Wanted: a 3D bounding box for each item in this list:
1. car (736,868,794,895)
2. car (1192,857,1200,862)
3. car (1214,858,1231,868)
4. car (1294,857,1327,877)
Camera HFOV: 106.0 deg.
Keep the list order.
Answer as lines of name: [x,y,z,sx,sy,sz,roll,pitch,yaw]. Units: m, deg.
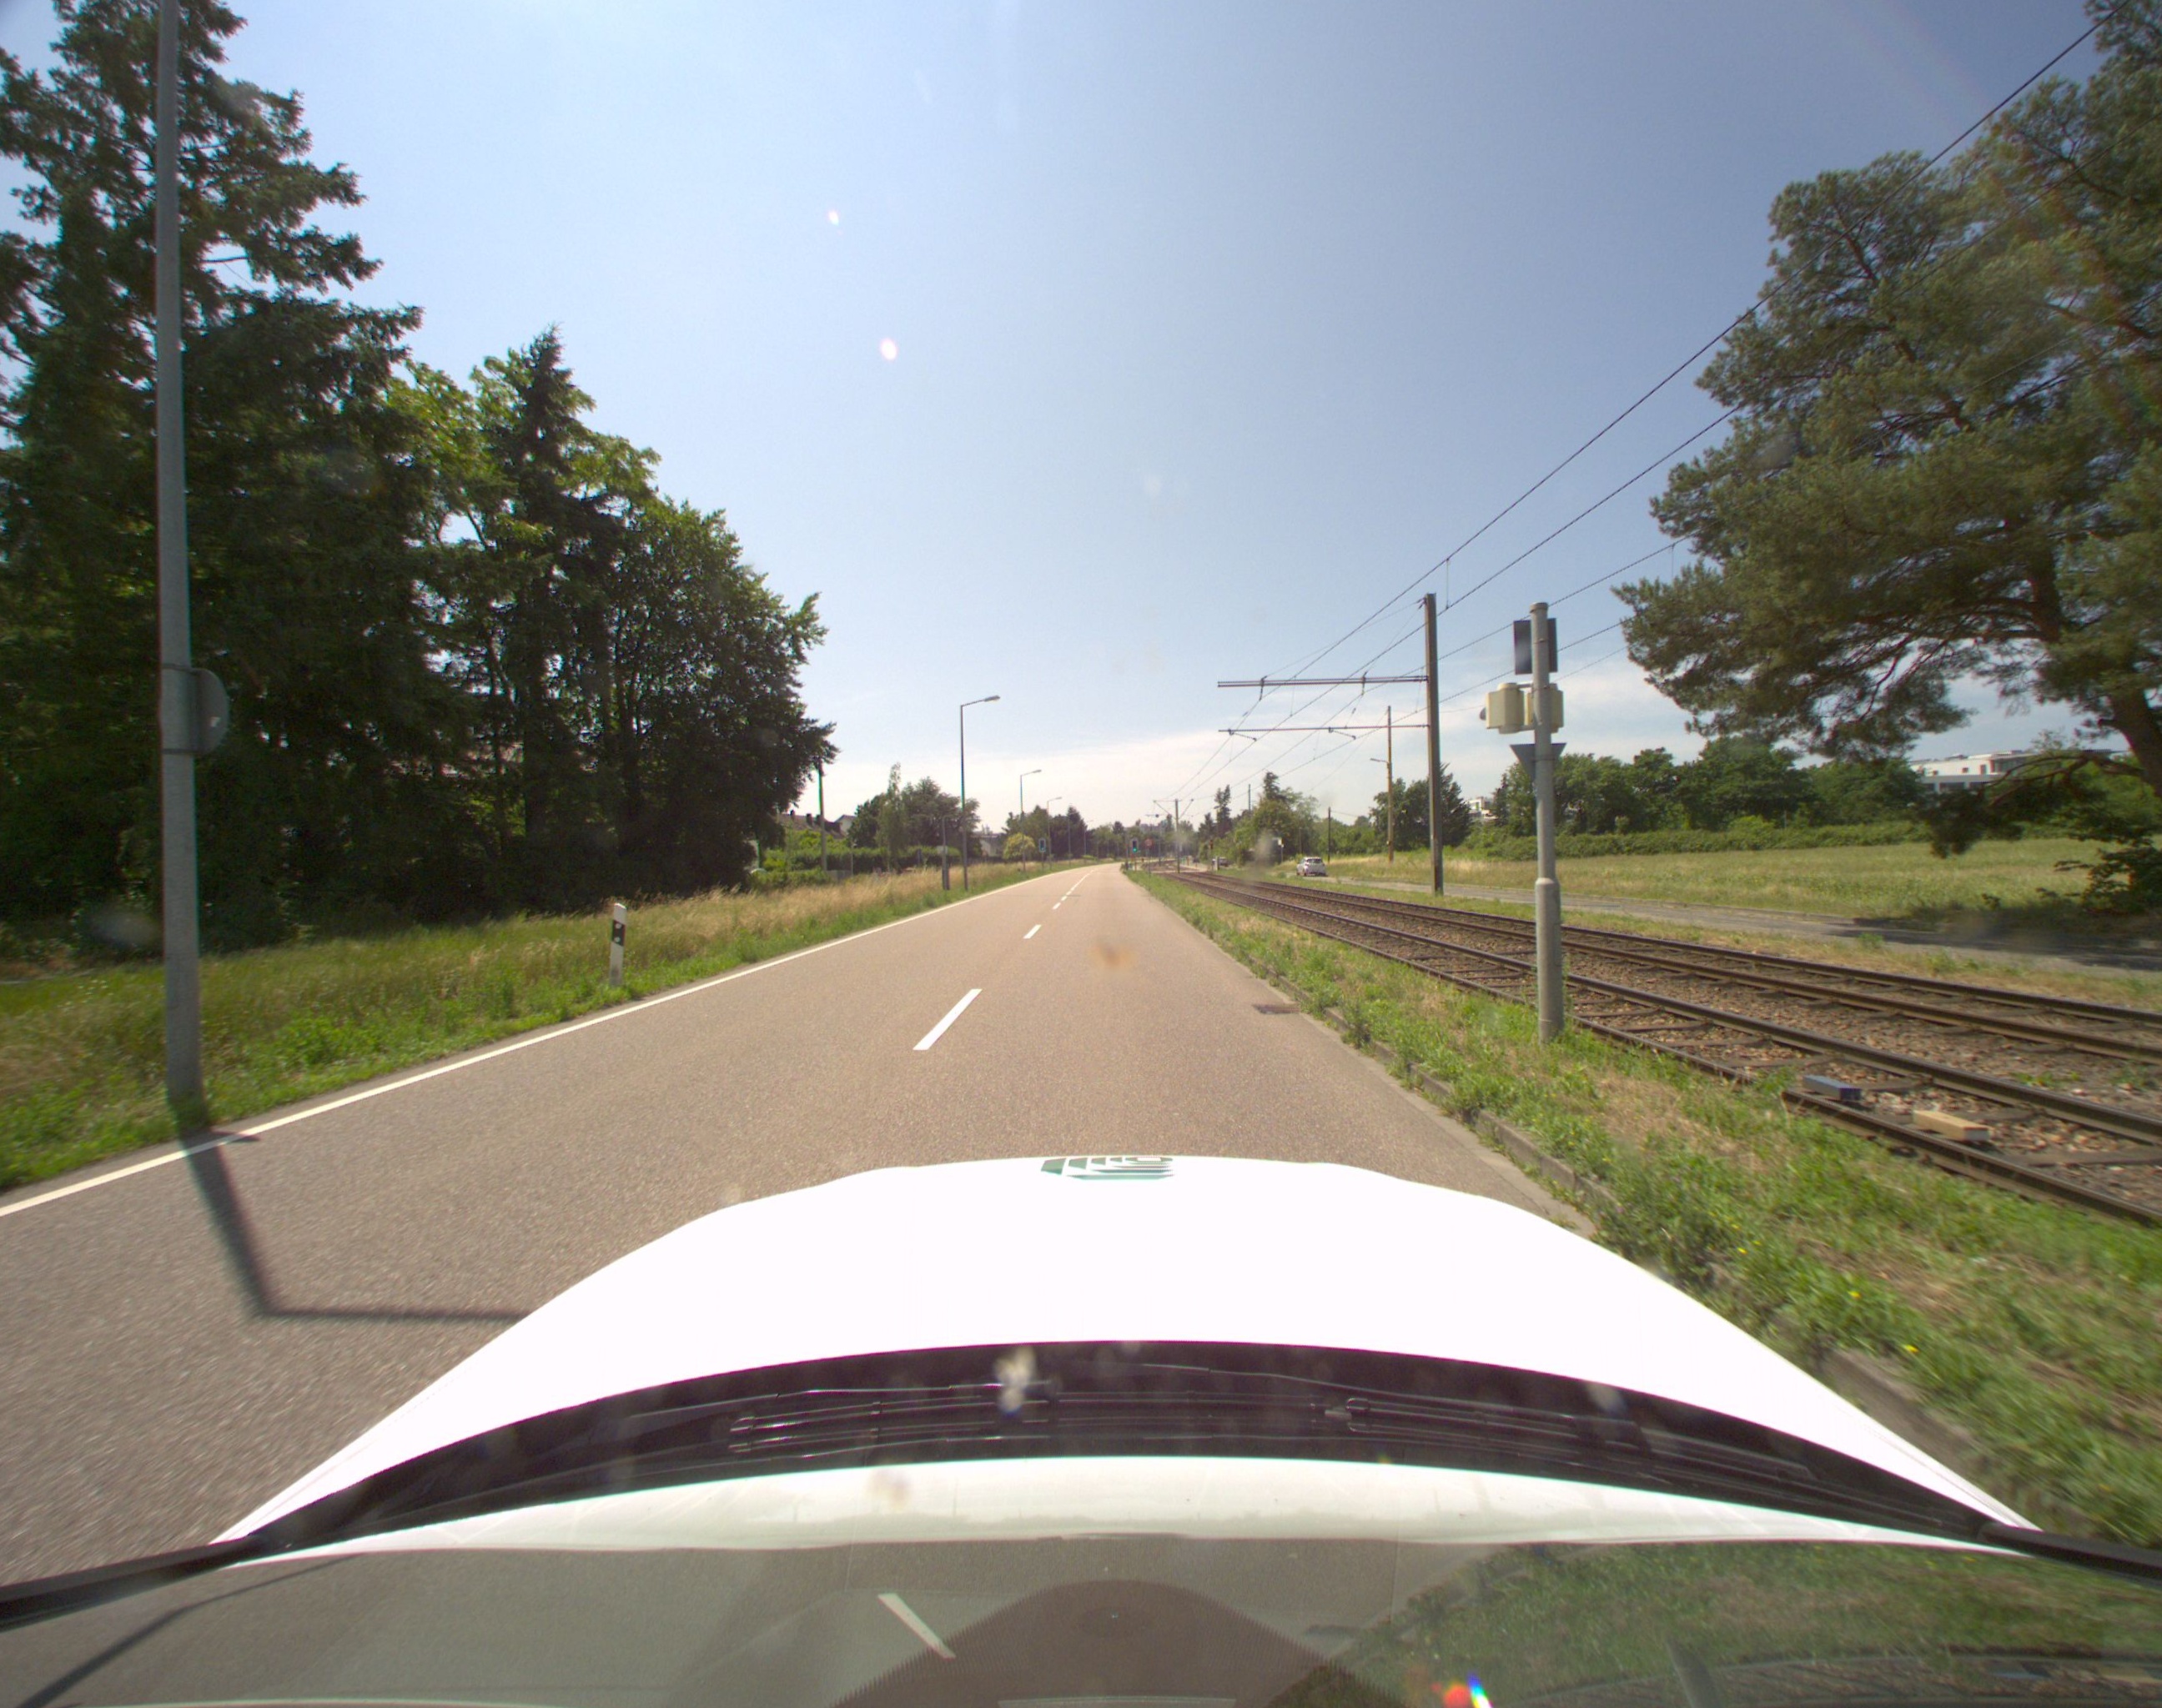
car: [-18.644,1.611,48.226,1.700,1.491,4.187,0,-1,1]
car: [29.520,1.441,208.348,1.852,1.330,4.522,0,0,6]
car: [20.816,1.269,119.942,1.930,1.422,4.004,0,-1,4]
car: [18.121,1.003,64.463,1.706,1.488,4.004,0,-1,3]
